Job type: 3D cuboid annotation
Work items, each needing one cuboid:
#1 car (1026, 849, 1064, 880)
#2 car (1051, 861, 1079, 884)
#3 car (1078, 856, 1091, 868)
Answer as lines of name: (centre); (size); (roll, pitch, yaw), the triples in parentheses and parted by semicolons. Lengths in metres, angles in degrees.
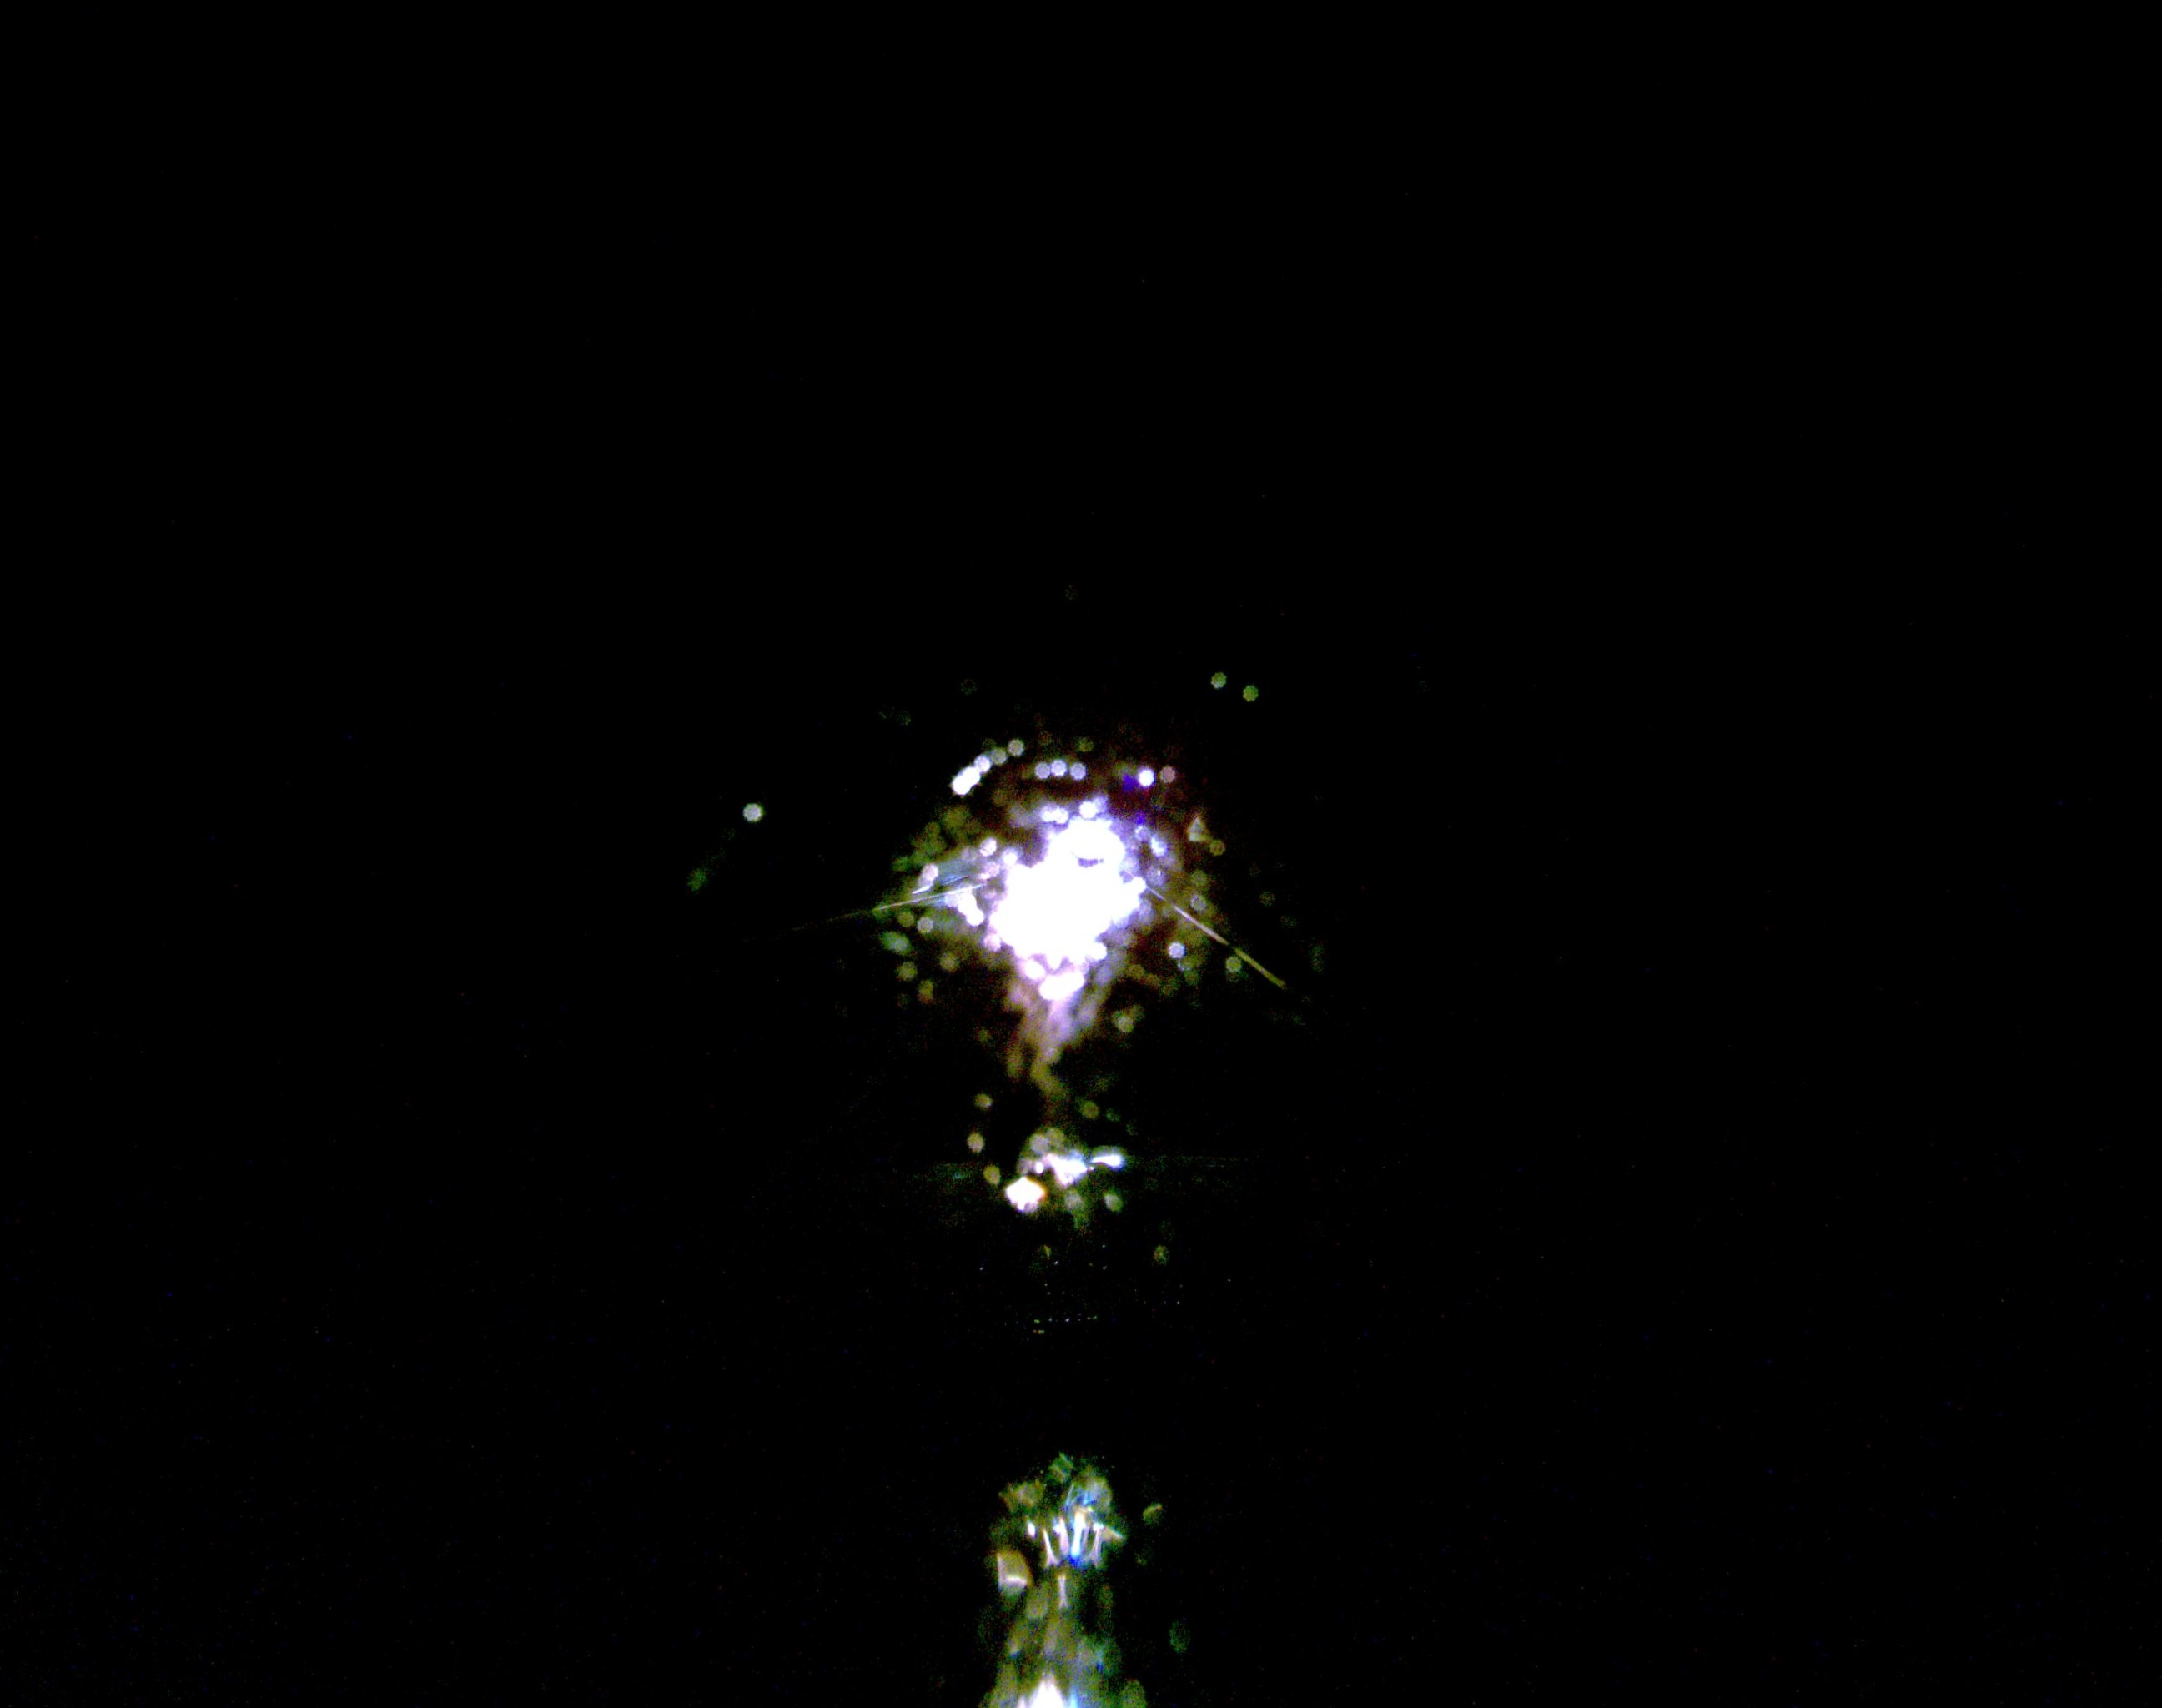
car: (-2.080, 0.604, 47.936); (1.881, 1.671, 4.002); (-2, 0, 2)
car: (-1.170, 1.430, 62.898); (1.881, 1.586, 4.002); (-2, 0, 2)
car: (0.476, 1.084, 107.047); (1.695, 1.467, 4.041); (-2, 0, 0)
